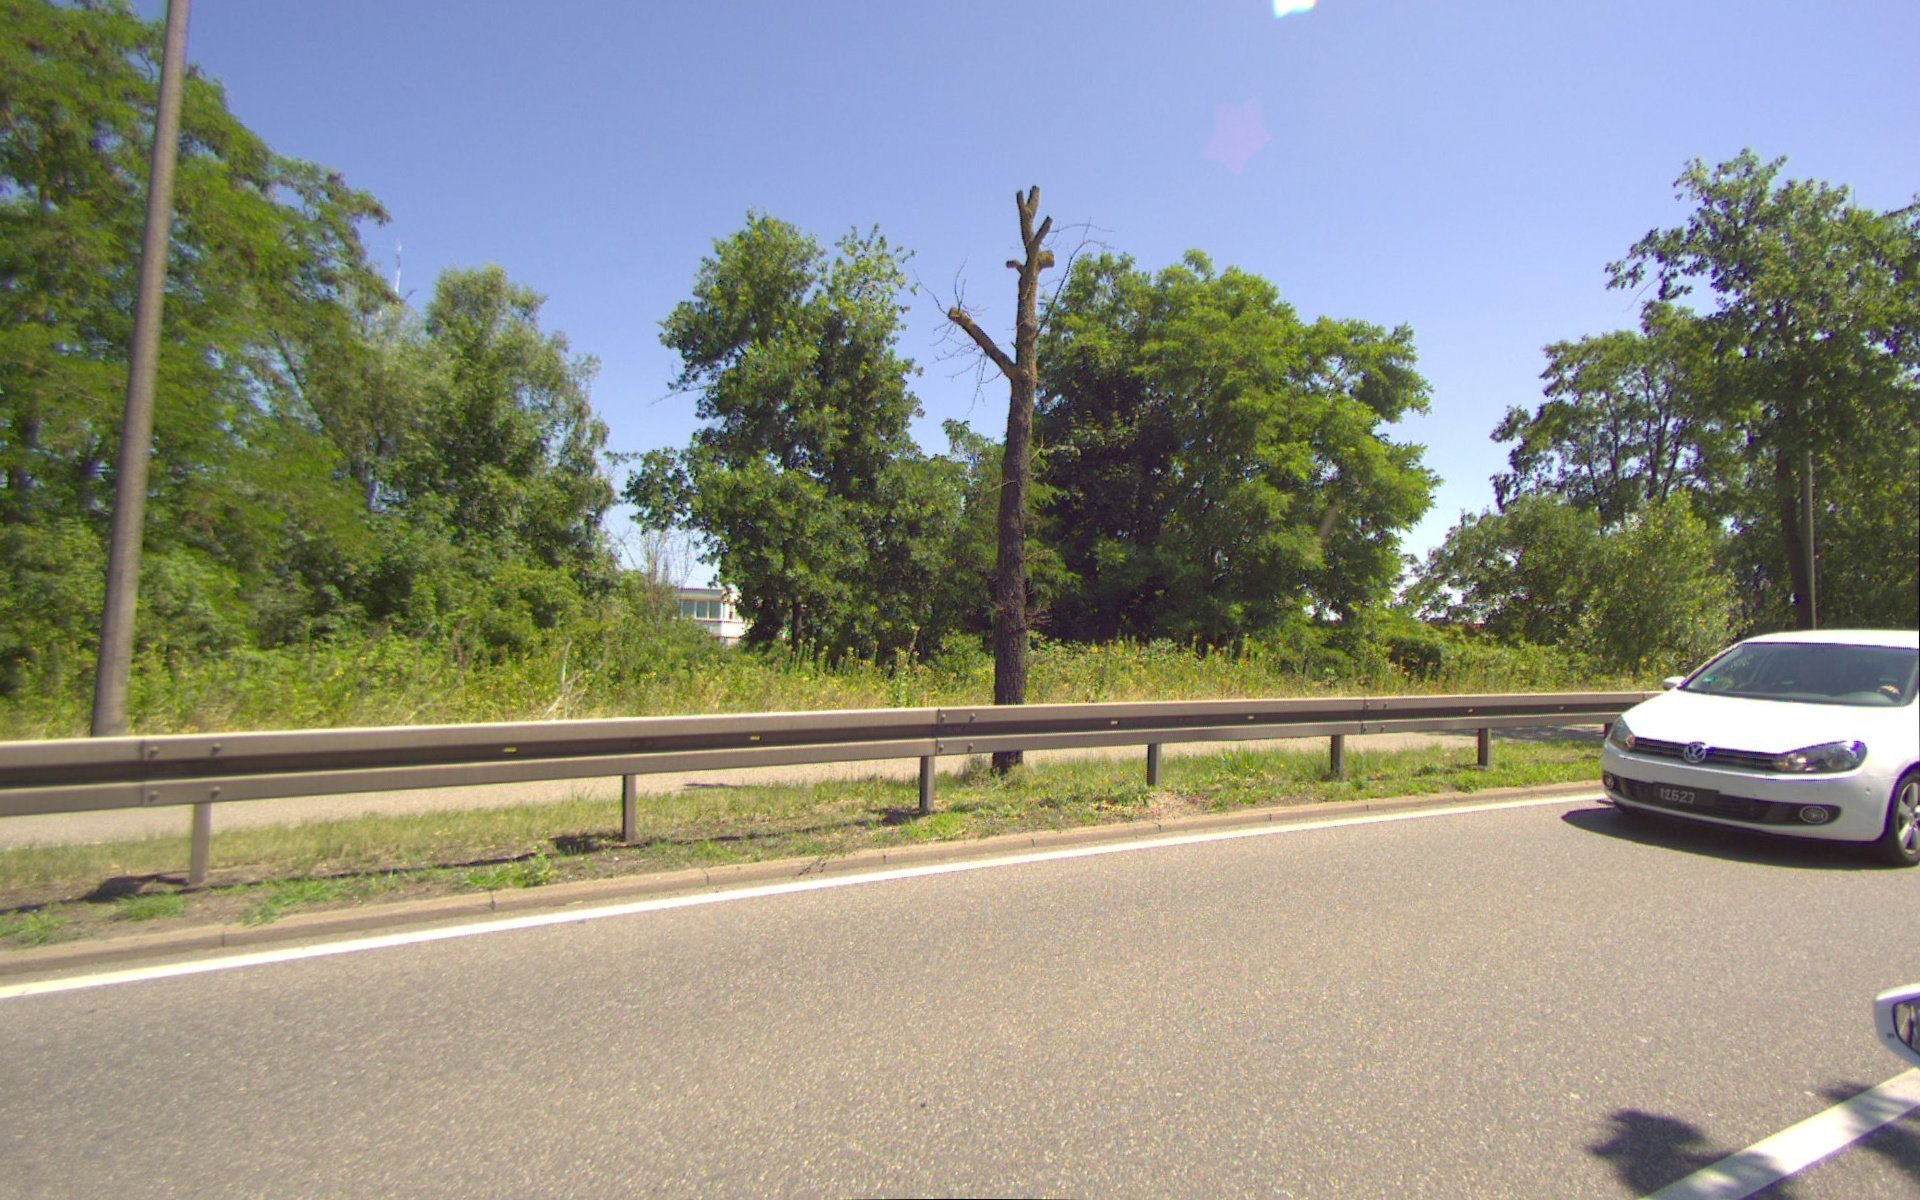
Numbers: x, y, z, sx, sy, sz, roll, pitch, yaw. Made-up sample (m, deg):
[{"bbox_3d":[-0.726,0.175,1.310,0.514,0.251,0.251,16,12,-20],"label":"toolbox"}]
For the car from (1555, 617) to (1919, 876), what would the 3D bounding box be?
[{"bbox_3d":[6.534,0.906,7.517,3.971,1.458,1.718,1,0,-27],"label":"car"}]
